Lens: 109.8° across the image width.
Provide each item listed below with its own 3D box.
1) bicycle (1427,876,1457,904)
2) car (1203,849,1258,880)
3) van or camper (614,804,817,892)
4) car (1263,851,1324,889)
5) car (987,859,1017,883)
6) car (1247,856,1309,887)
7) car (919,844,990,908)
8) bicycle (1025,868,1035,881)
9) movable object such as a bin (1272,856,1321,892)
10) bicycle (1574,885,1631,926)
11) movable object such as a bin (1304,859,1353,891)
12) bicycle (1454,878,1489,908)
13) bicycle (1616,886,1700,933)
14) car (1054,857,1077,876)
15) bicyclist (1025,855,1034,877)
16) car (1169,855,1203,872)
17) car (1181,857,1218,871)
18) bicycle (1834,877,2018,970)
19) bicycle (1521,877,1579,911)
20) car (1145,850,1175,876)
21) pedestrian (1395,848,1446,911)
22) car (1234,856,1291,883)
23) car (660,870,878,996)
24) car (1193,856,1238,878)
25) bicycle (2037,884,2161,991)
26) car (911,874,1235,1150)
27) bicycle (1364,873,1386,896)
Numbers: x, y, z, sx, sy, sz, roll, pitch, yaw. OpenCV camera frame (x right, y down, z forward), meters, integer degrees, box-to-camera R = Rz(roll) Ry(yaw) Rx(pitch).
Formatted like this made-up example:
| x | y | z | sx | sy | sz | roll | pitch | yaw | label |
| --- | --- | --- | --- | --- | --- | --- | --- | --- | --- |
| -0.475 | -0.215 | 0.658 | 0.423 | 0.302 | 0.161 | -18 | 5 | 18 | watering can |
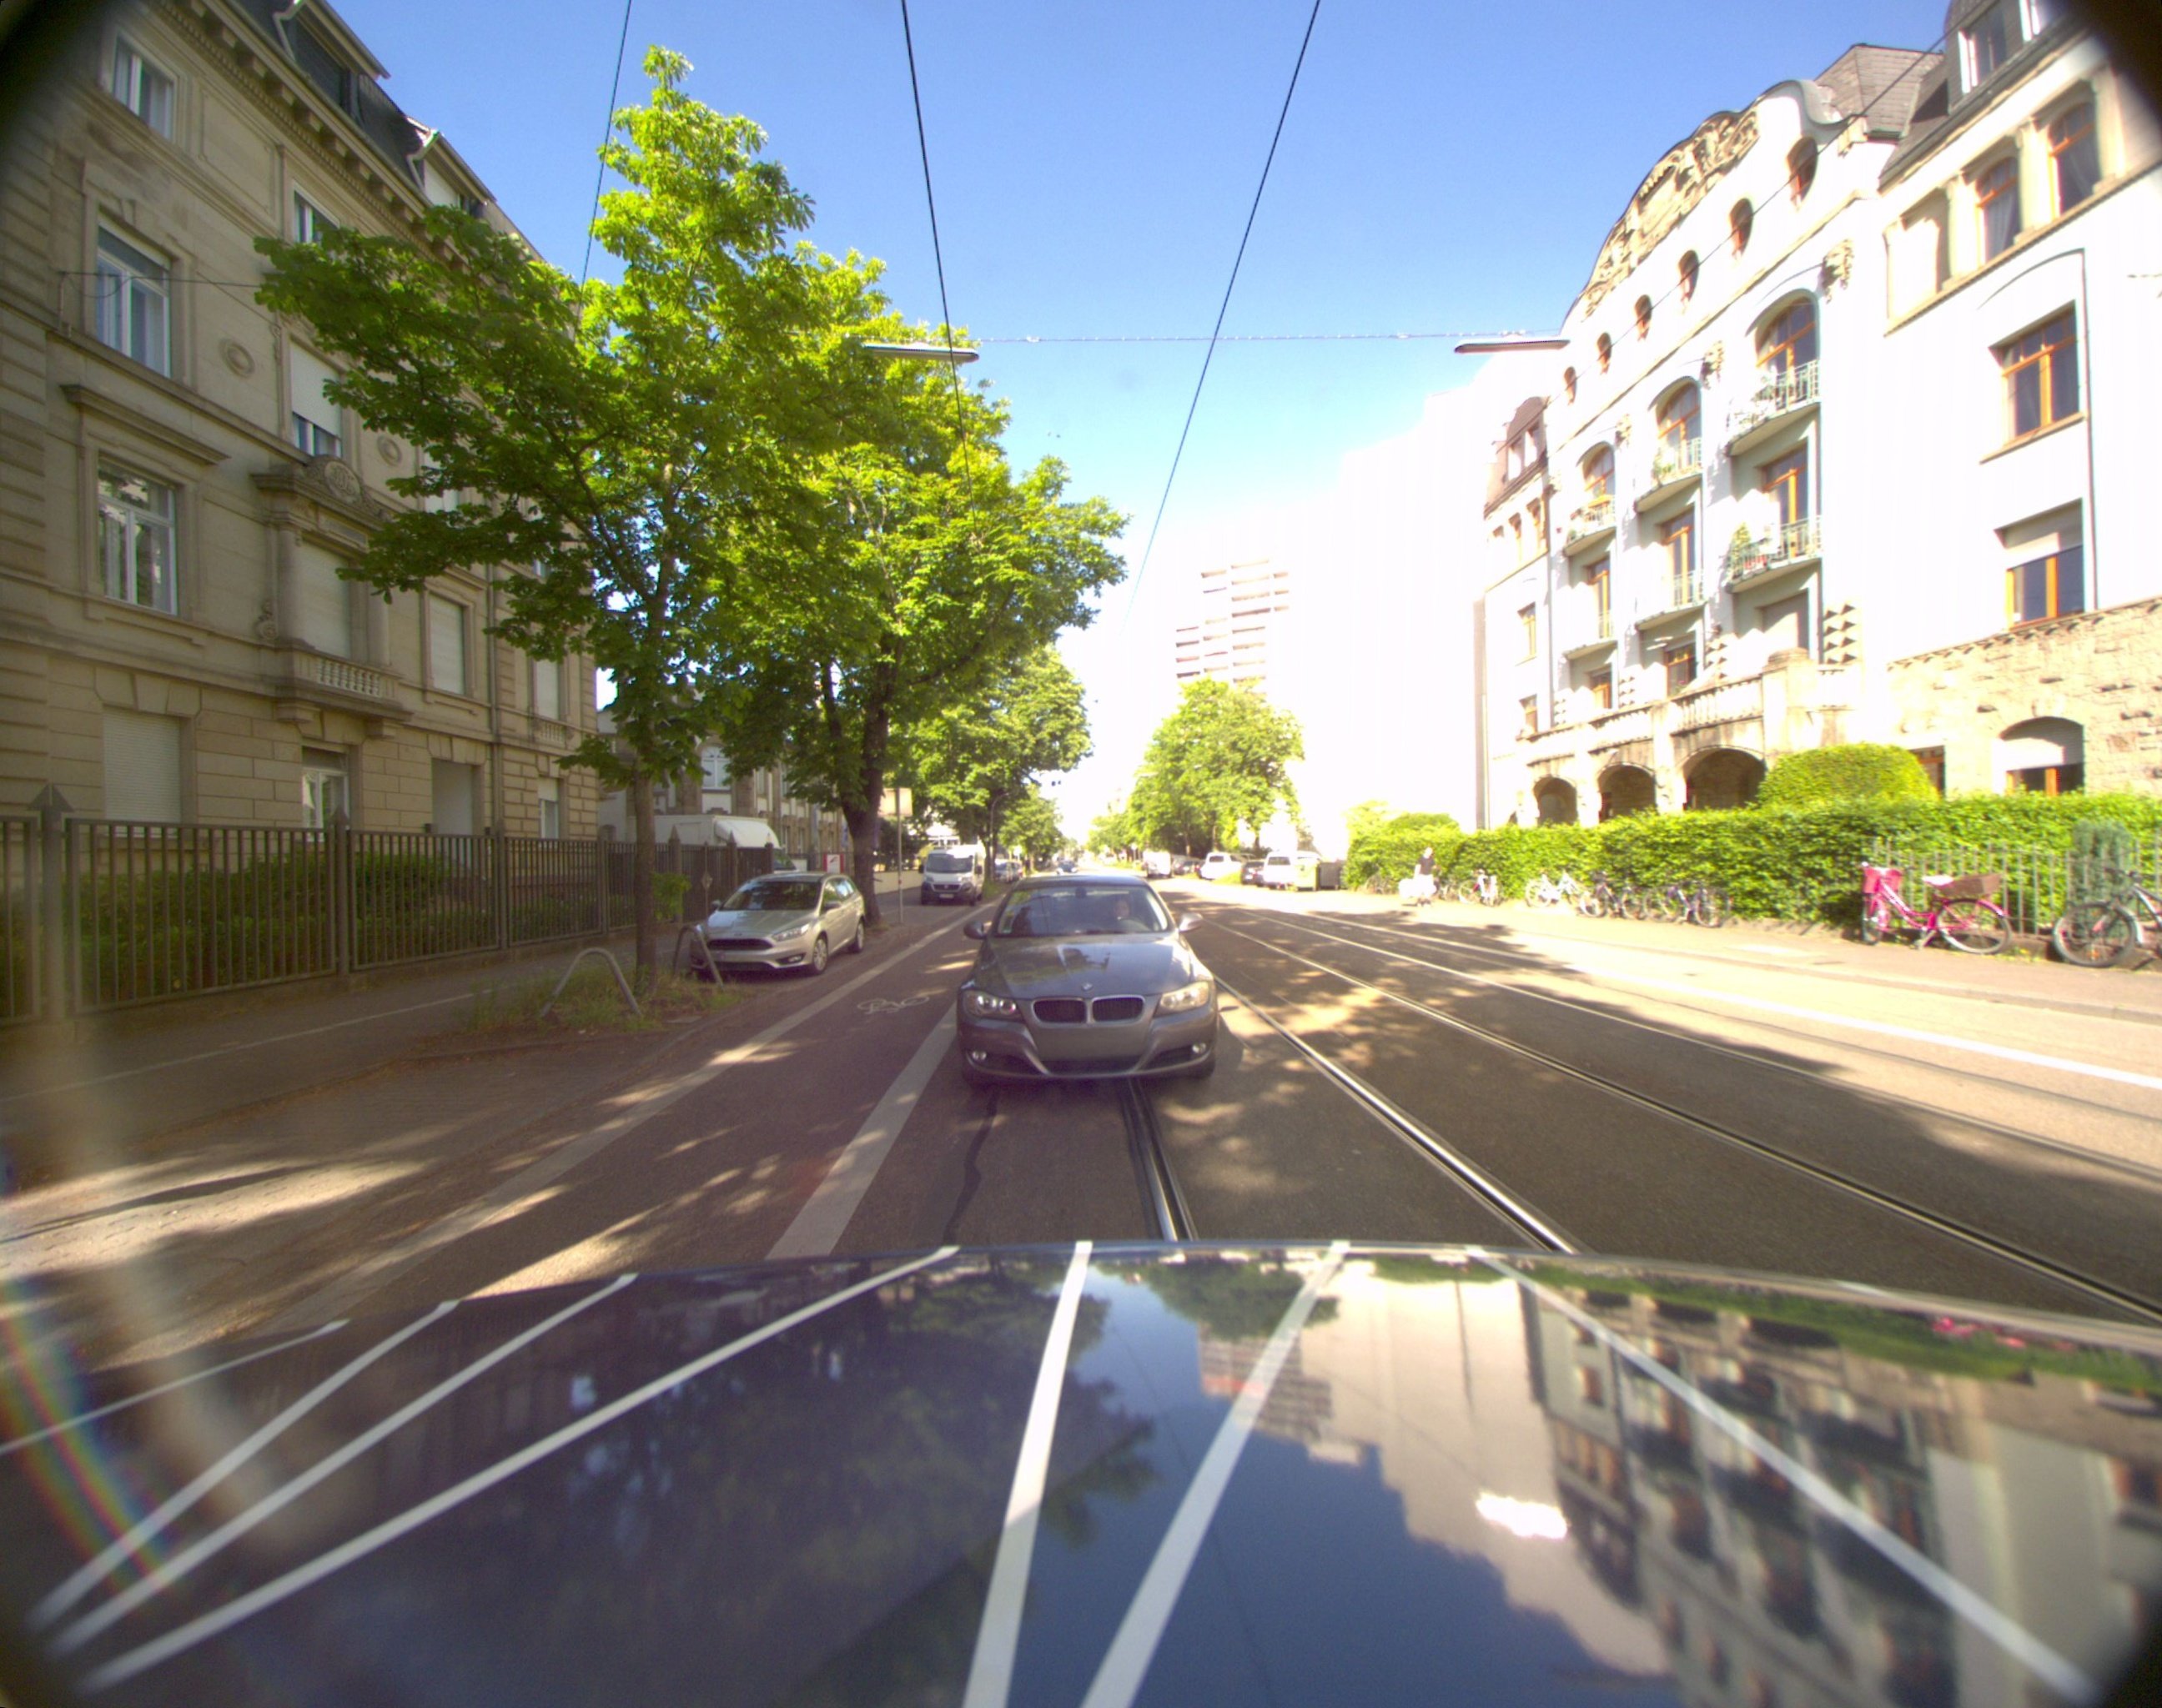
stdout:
| x | y | z | sx | sy | sz | roll | pitch | yaw | label |
| --- | --- | --- | --- | --- | --- | --- | --- | --- | --- |
| 10.763 | 1.055 | 22.702 | 0.297 | 0.757 | 1.263 | -2 | 1 | 1 | bicycle |
| 9.898 | 0.685 | 50.114 | 3.450 | 1.860 | 1.918 | -3 | 1 | -44 | car |
| -12.166 | -0.136 | 25.186 | 6.721 | 2.612 | 2.126 | -2 | 1 | 24 | van or camper |
| 10.277 | 0.778 | 36.664 | 3.194 | 1.763 | 1.456 | 1 | -2 | -45 | car |
| -5.536 | 1.188 | 53.760 | 1.866 | 1.541 | 4.101 | -2 | 1 | -3 | car |
| 10.266 | 0.896 | 39.657 | 2.757 | 1.427 | 1.458 | -2 | 1 | -16 | car |
| -4.980 | 0.774 | 30.780 | 2.132 | 2.329 | 5.803 | 0 | 1 | -3 | car |
| -3.925 | 1.546 | 58.400 | 0.535 | 0.917 | 2.057 | -2 | 1 | 1 | bicycle |
| 9.400 | 0.850 | 33.240 | 1.512 | 1.424 | 2.096 | -2 | 1 | 1 | movable object such as a bin |
| 10.914 | 1.062 | 15.931 | 0.339 | 0.757 | 1.263 | -2 | 1 | 1 | bicycle |
| 11.115 | 0.905 | 34.209 | 1.501 | 1.309 | 2.096 | -2 | 1 | 1 | movable object such as a bin |
| 10.741 | 1.061 | 20.910 | 0.318 | 0.757 | 1.263 | -2 | 1 | 1 | bicycle |
| 10.915 | 1.027 | 14.426 | 0.405 | 0.757 | 1.581 | -2 | 1 | 1 | bicycle |
| -1.337 | 1.068 | 67.603 | 1.828 | 1.559 | 3.999 | -2 | 1 | 1 | car |
| -3.950 | 0.903 | 58.330 | 0.532 | 1.660 | 0.878 | -2 | 1 | 1 | bicyclist |
| 9.668 | 0.855 | 69.897 | 2.757 | 1.417 | 1.226 | -2 | 1 | -16 | car |
| 9.765 | 0.806 | 62.696 | 2.757 | 1.083 | 1.226 | -2 | 1 | -16 | car |
| 11.010 | 0.859 | 9.997 | 0.405 | 1.018 | 1.816 | -2 | 1 | 1 | bicycle |
| 11.790 | 1.005 | 19.102 | 1.262 | 0.789 | 0.297 | -2 | 1 | 1 | bicycle |
| 6.342 | 0.708 | 60.765 | 1.997 | 1.893 | 4.003 | -2 | 1 | 11 | car |
| 9.434 | 0.699 | 21.131 | 0.869 | 1.619 | 0.870 | -6 | 1 | 1 | pedestrian |
| 10.263 | 0.858 | 43.024 | 2.757 | 1.427 | 1.458 | -2 | 1 | -16 | car |
| -4.708 | 1.094 | 12.237 | 1.877 | 1.534 | 4.364 | 0 | 1 | -3 | car |
| 9.472 | 0.912 | 53.543 | 2.757 | 1.427 | 1.458 | -2 | 1 | -16 | car |
| 11.081 | 0.865 | 7.744 | 0.405 | 1.018 | 1.816 | -2 | 1 | 1 | bicycle |
| -0.020 | 0.997 | 6.508 | 1.869 | 1.426 | 3.999 | -2 | 1 | 1 | car |
| 10.631 | 1.103 | 27.455 | 0.297 | 0.757 | 1.263 | -2 | 1 | 1 | bicycle |
